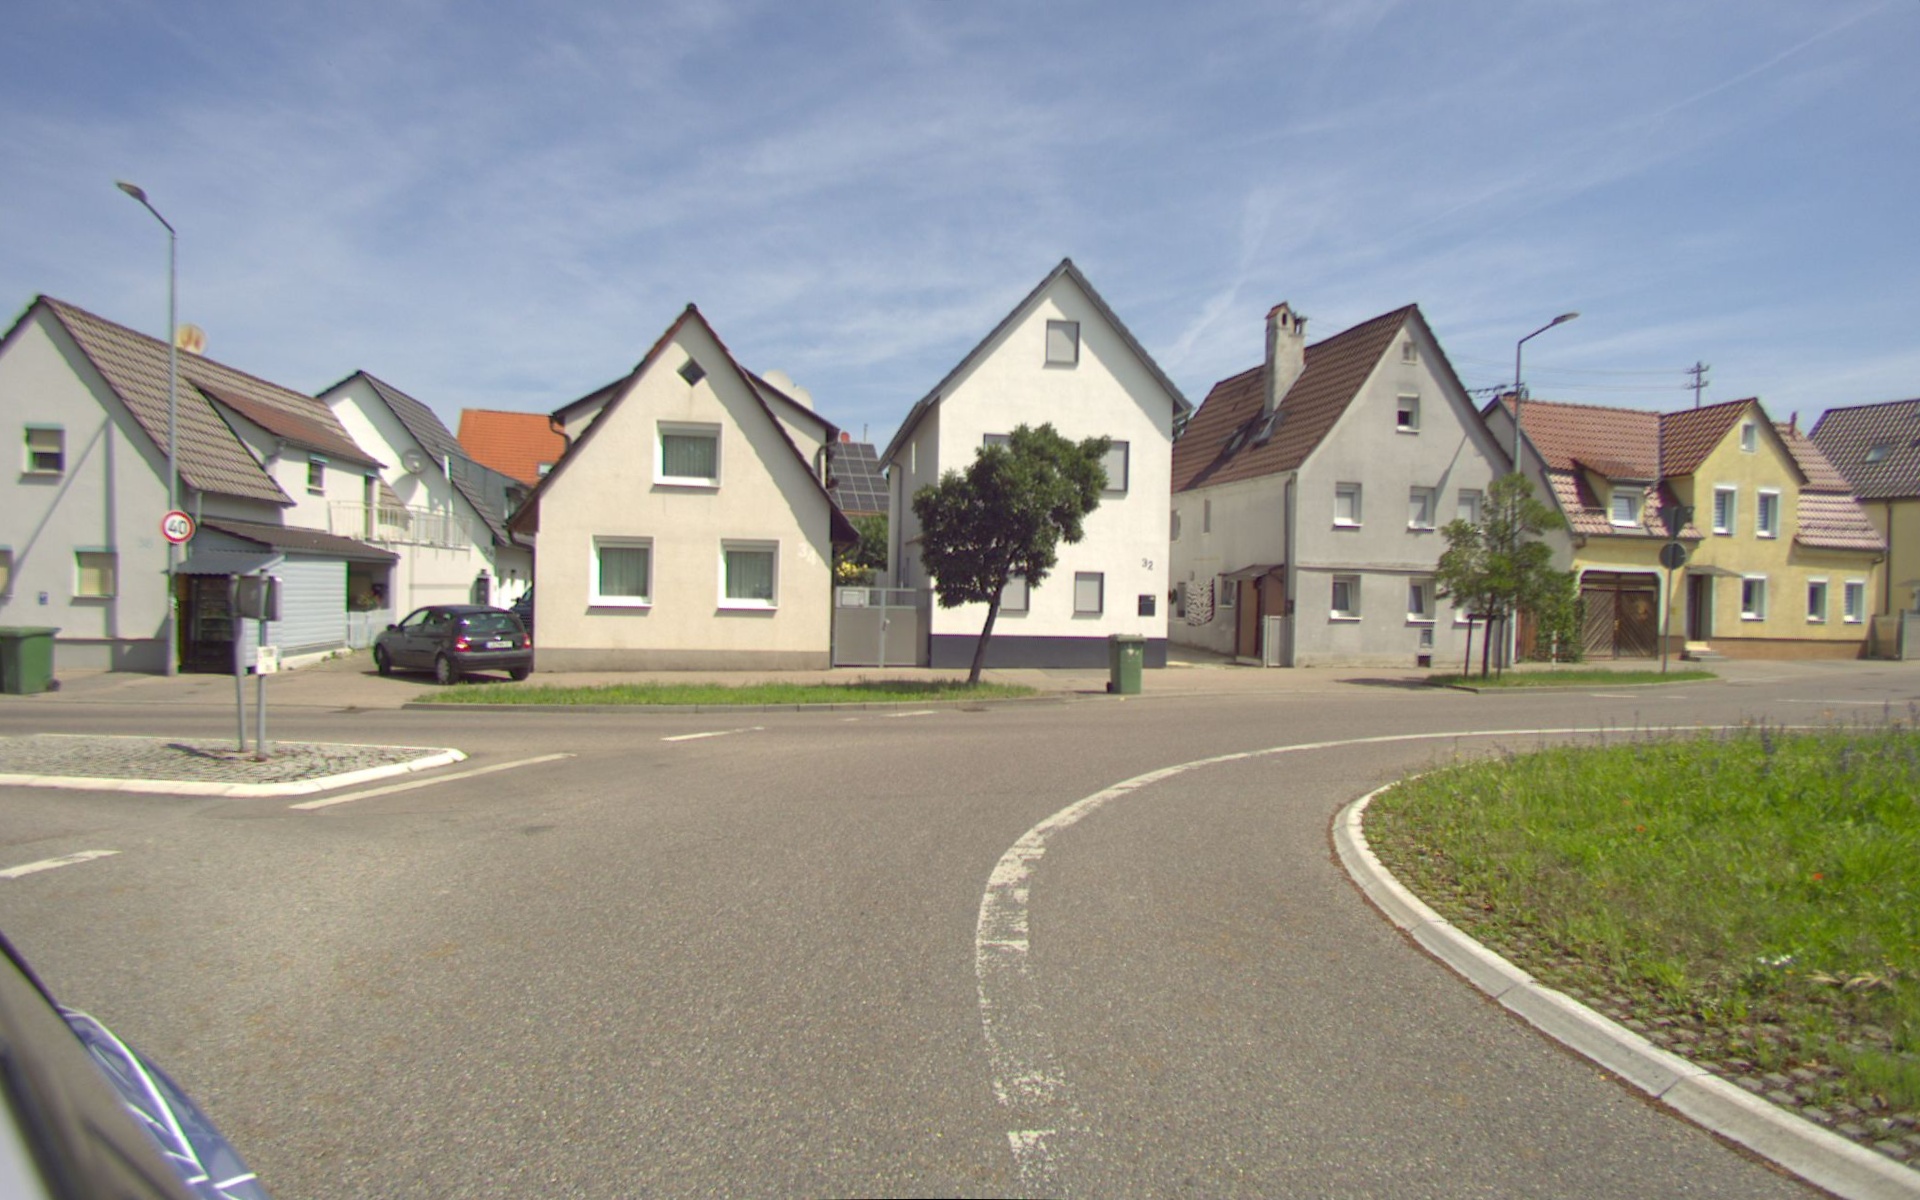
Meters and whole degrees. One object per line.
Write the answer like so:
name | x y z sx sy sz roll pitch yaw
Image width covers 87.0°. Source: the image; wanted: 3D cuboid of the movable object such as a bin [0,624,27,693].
movable object such as a bin | -15.792 0.950 16.404 0.624 1.085 0.733 0 2 0

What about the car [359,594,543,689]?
car | -9.892 0.717 19.571 3.843 1.452 1.756 3 3 39

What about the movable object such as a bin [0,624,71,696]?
movable object such as a bin | -15.077 0.962 16.408 0.715 1.085 0.683 0 2 0

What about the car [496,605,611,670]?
car | -11.027 0.973 27.728 1.969 1.657 3.877 0 -1 -6

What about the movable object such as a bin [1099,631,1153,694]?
movable object such as a bin | 2.924 1.096 17.922 0.569 1.056 0.906 0 -1 -20
